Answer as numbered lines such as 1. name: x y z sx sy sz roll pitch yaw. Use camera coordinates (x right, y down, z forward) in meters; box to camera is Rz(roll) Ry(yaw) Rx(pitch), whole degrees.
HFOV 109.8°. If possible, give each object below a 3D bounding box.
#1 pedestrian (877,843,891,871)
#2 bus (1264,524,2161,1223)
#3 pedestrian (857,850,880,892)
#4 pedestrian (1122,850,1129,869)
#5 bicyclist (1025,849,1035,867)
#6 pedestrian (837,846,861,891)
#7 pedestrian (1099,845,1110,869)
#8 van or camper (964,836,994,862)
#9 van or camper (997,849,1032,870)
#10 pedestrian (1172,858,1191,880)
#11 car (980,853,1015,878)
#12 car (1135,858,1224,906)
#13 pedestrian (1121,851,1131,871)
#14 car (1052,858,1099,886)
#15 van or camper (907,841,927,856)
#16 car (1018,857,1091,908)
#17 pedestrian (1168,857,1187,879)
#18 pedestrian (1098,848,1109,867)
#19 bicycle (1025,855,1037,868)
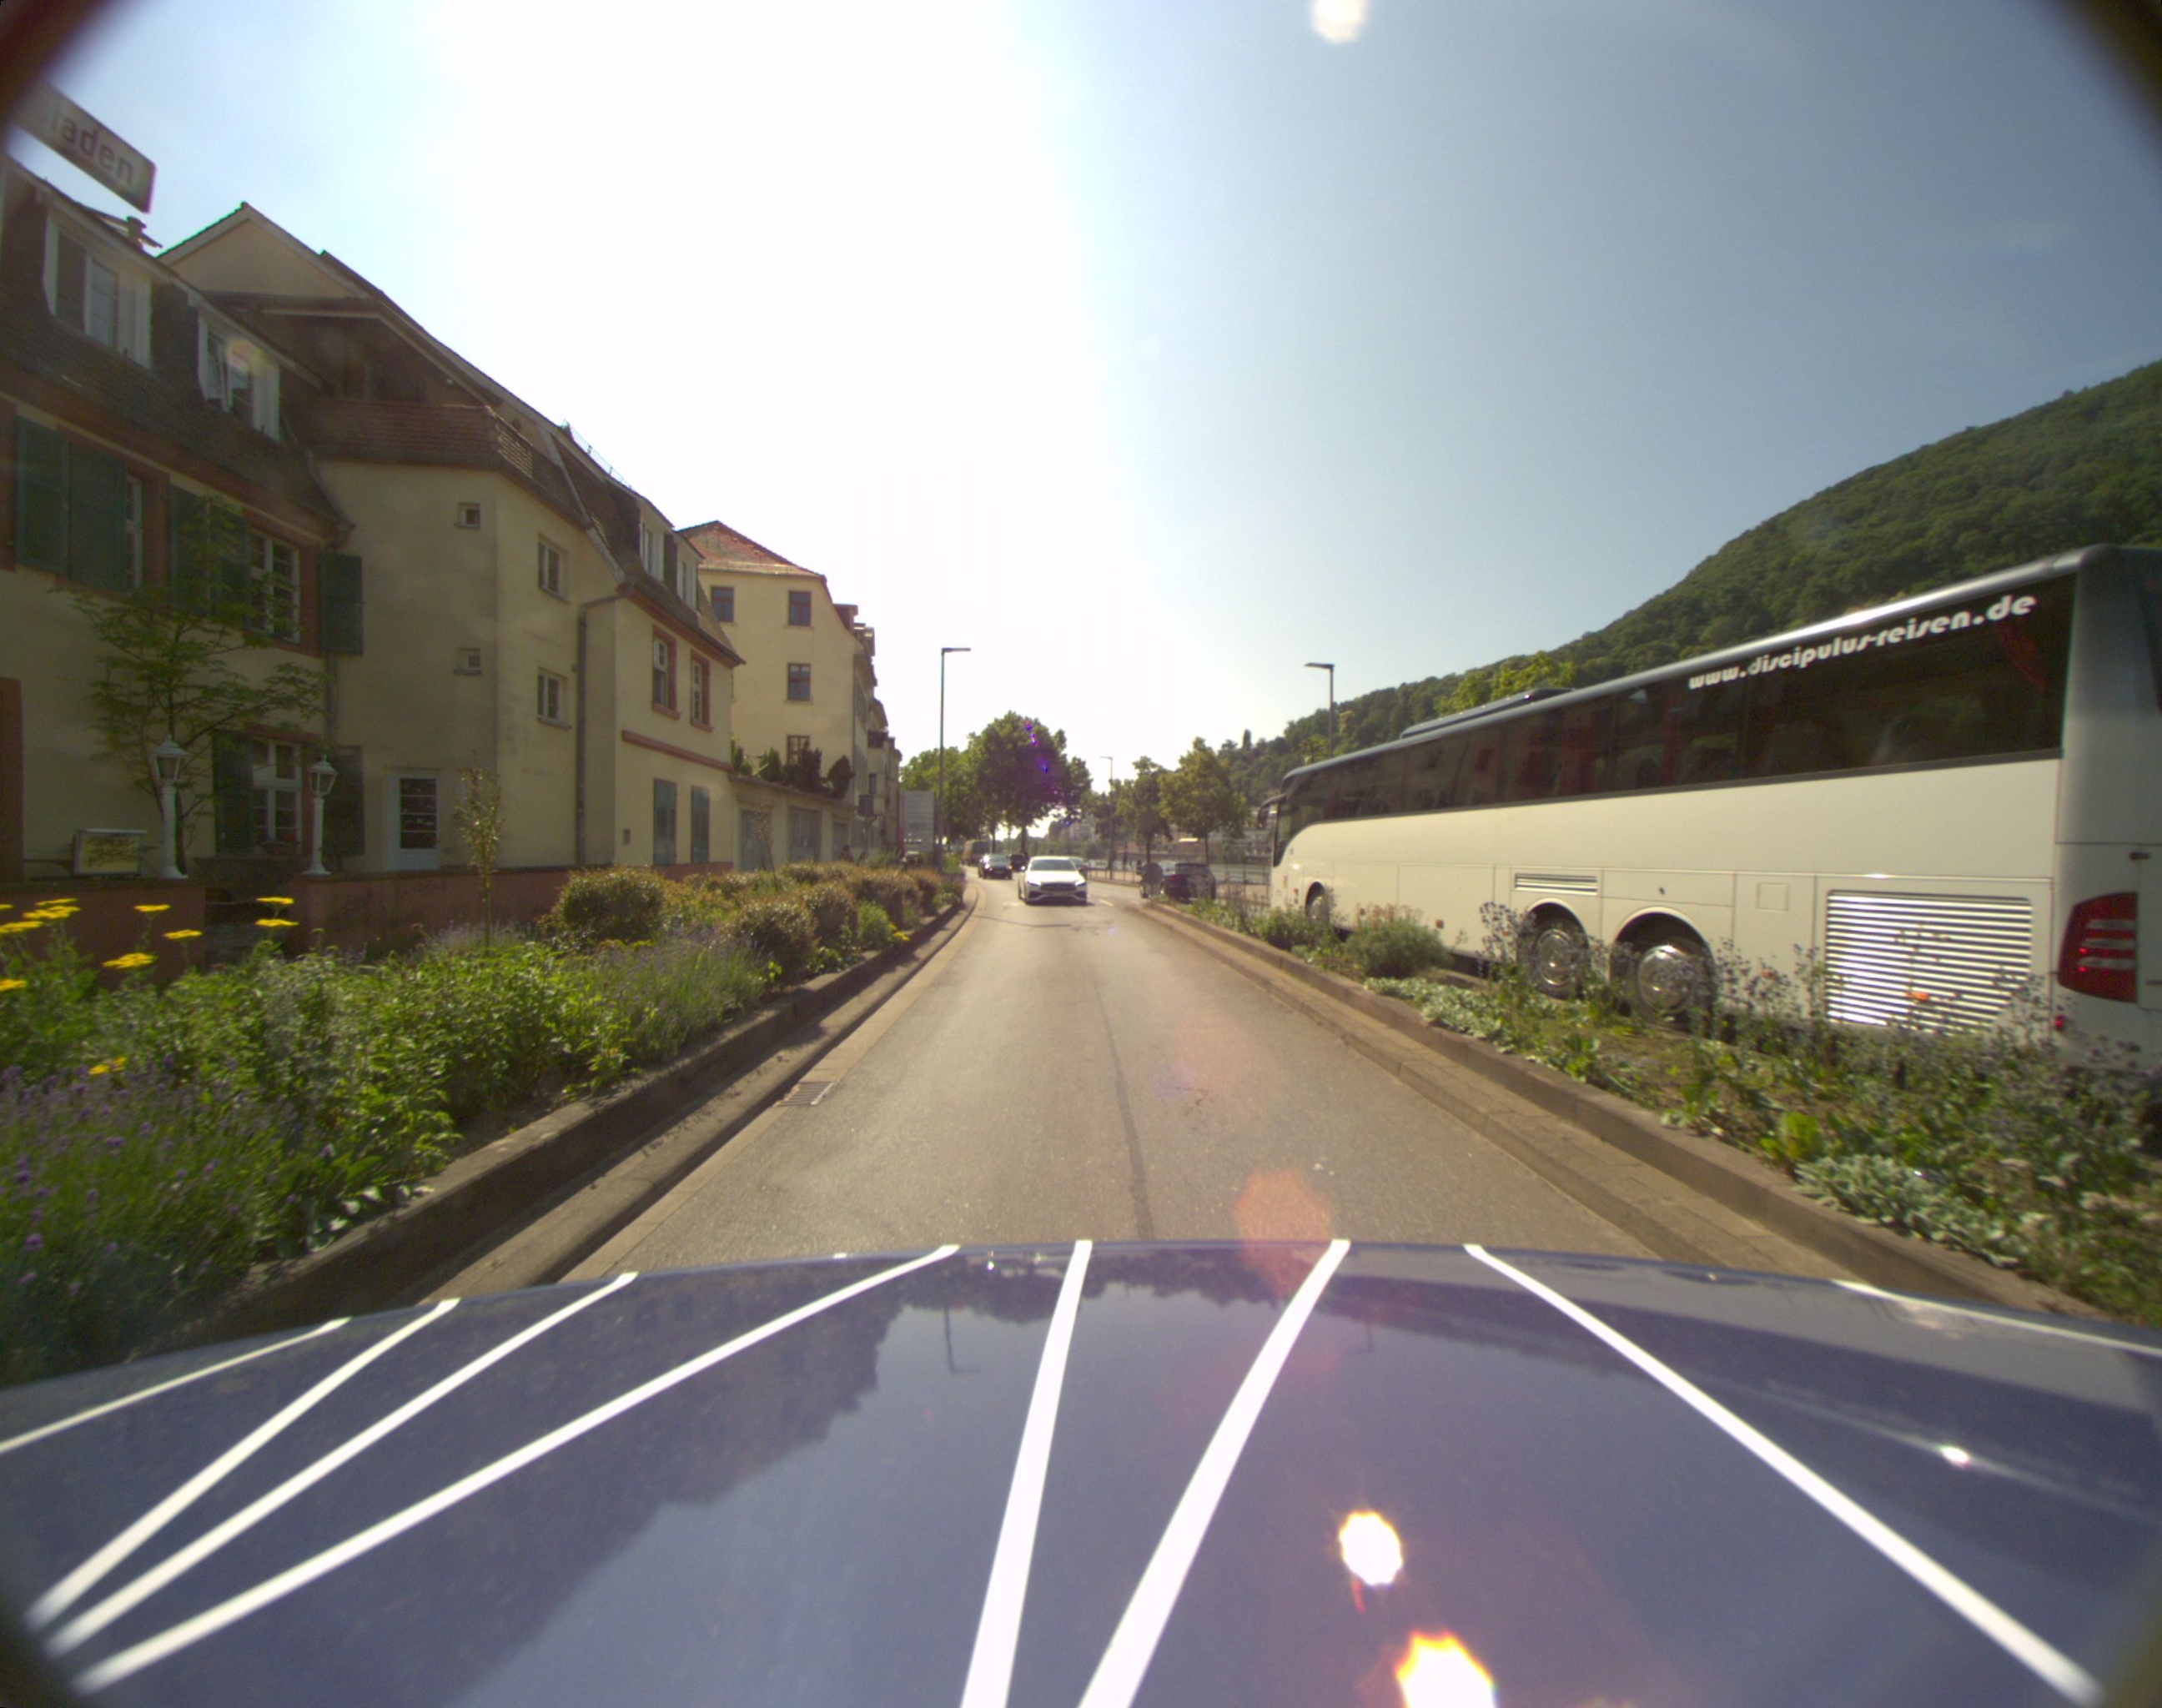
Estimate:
1. pedestrian: -12.336 0.179 47.624 0.764 1.703 0.695 4 0 -14
2. bus: 6.054 -0.008 10.415 2.639 3.544 12.972 1 1 -6
3. pedestrian: -8.230 0.655 29.495 0.764 1.586 0.695 1 1 -9
4. pedestrian: 3.683 0.456 62.937 0.416 1.588 0.450 1 1 -9
5. bicyclist: -4.710 0.353 70.446 0.743 1.658 1.088 1 0 -15
6. pedestrian: -8.995 0.564 29.456 0.740 1.689 0.932 2 1 -9
7. pedestrian: 1.991 0.251 64.298 0.696 1.934 0.885 1 1 -17
8. van or camper: -10.554 -0.510 78.428 2.095 2.542 7.080 0 1 -16
9. van or camper: -5.348 0.401 60.729 2.001 1.446 4.675 3 0 -14
10. pedestrian: 5.929 0.859 44.919 0.939 1.273 0.849 1 1 -8
11. car: -5.018 0.642 45.180 1.877 1.416 4.740 0 0 -9
12. car: 3.274 0.905 26.035 1.823 1.421 4.188 2 0 -10
13. pedestrian: 3.700 0.549 62.567 0.696 1.607 0.663 1 1 -9
14. car: -0.353 0.975 42.744 1.820 1.420 4.306 3 -1 -11
15. van or camper: -25.247 -0.860 116.988 2.441 2.271 6.193 1 1 -17
16. car: -0.944 0.820 23.931 1.876 1.416 4.741 0 0 -7
17. pedestrian: 5.800 0.847 45.821 0.939 1.273 0.849 1 1 -8
18. pedestrian: 2.006 0.315 68.591 0.759 1.673 0.657 0 1 -20
19. bicycle: -4.663 0.663 70.443 0.714 1.162 1.893 0 0 -16
